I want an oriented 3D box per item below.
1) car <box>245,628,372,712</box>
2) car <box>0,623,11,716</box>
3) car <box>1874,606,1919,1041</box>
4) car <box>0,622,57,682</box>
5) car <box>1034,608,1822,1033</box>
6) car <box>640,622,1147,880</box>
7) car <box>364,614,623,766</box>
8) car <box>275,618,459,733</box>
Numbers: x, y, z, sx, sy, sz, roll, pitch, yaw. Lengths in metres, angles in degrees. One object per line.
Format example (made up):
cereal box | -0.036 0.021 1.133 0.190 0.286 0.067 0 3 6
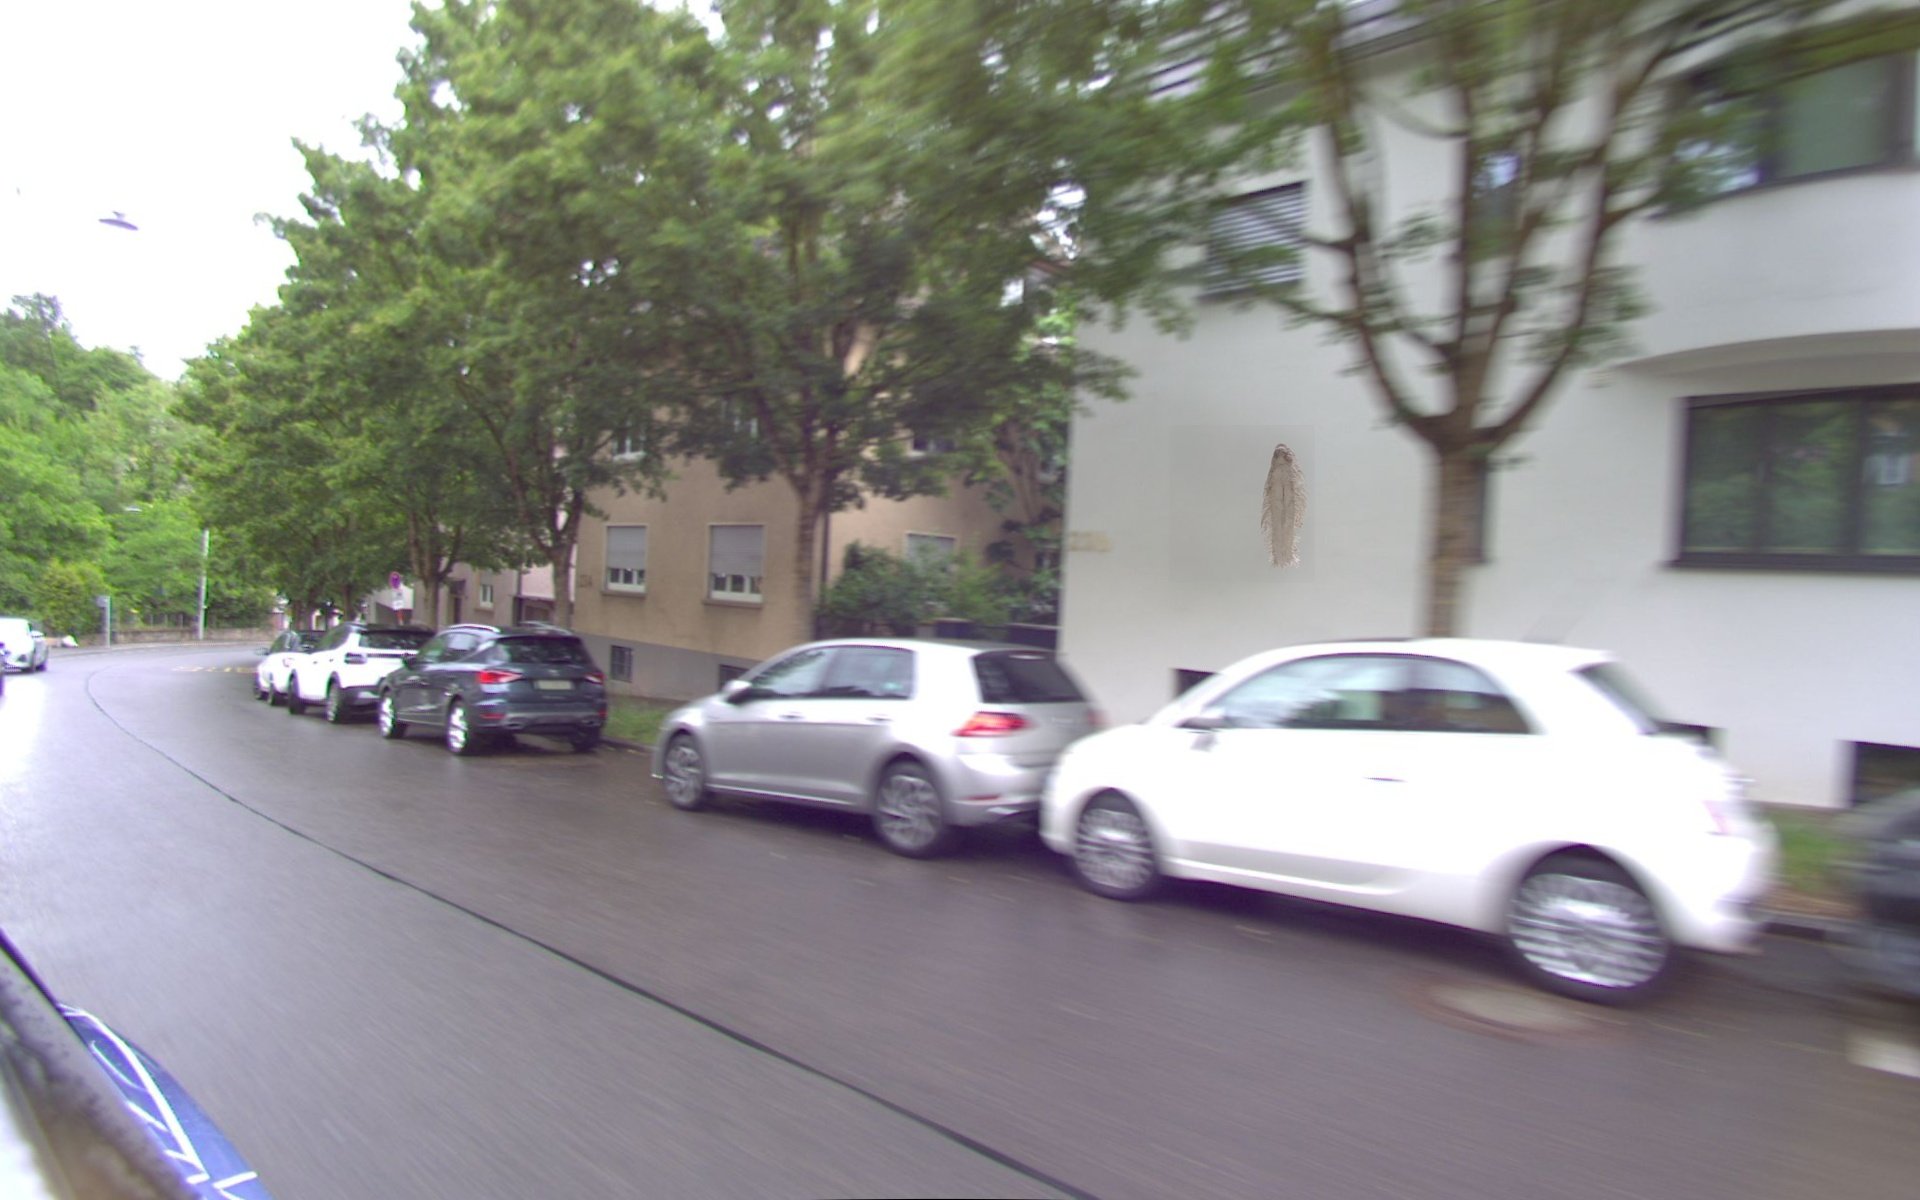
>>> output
car | -13.362 1.386 20.674 1.598 1.482 3.674 8 -6 -39
car | -17.488 1.122 17.181 4.019 1.500 1.782 -2 -4 44
car | 5.476 0.827 2.699 4.474 1.500 1.646 0 -5 42
car | -28.575 1.497 30.010 1.980 1.674 4.457 3 -3 -33
car | 2.250 0.886 5.379 3.469 1.500 1.557 -2 -6 43
car | -0.694 0.986 7.949 3.971 1.481 1.601 0 -5 42
car | -6.149 1.085 13.140 3.924 1.671 1.600 -1 -6 43
car | -10.064 1.216 17.066 3.925 1.671 1.574 -1 -7 45
